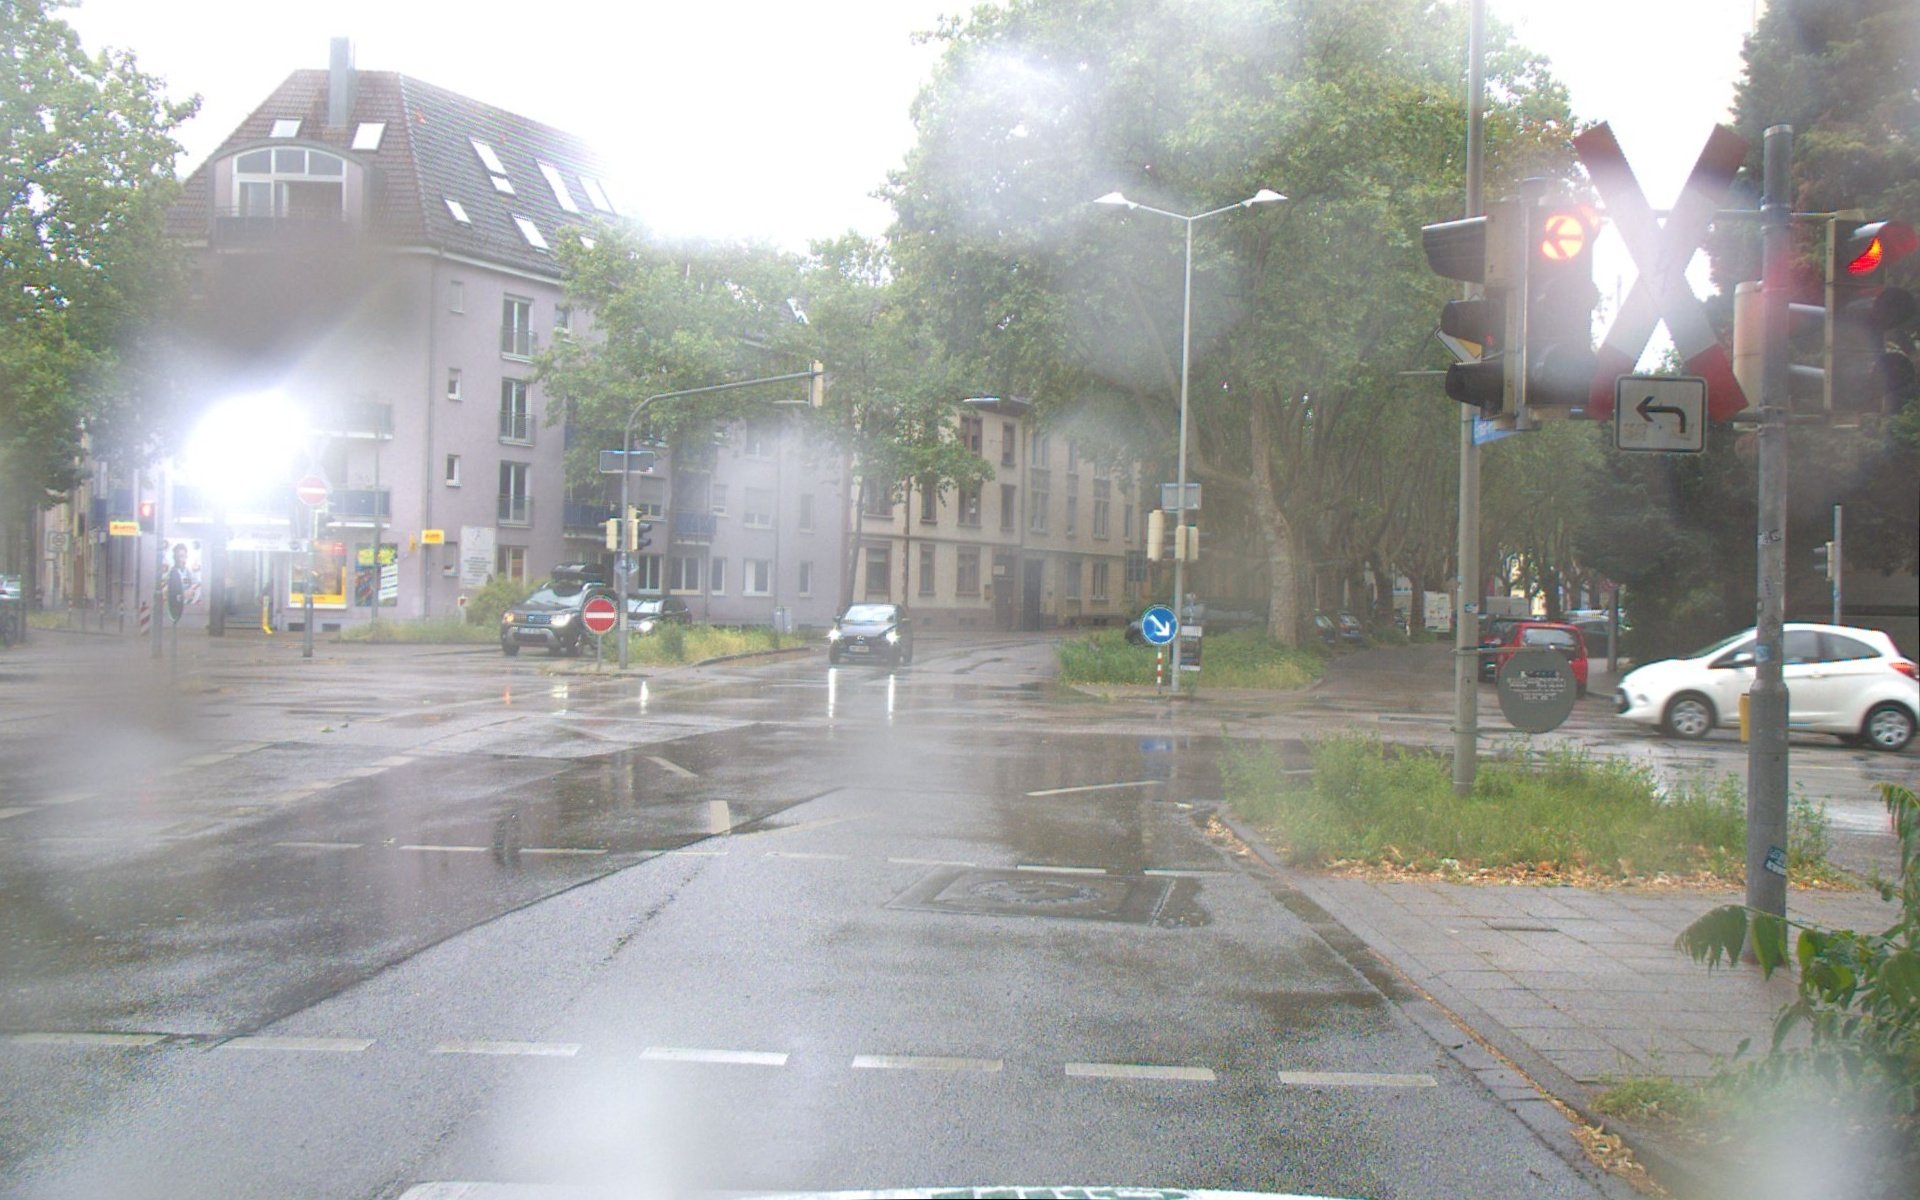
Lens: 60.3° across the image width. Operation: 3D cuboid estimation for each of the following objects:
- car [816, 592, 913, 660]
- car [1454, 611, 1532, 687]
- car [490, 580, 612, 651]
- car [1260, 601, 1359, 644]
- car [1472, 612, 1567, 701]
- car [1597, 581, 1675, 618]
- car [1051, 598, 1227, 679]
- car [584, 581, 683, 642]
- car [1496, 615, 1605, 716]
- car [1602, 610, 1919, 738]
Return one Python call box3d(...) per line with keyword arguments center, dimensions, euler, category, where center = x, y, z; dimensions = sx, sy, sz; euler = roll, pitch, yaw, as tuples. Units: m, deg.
box3d(center=(-2.297, 0.594, 40.579), dimensions=(1.568, 1.579, 3.563), euler=(0, 0, 10), category="car")
box3d(center=(15.455, 1.377, 48.104), dimensions=(1.951, 2.049, 4.003), euler=(0, 0, 15), category="car")
box3d(center=(-9.480, 0.339, 38.602), dimensions=(1.688, 1.579, 3.562), euler=(0, 0, 5), category="car")
box3d(center=(13.823, 0.881, 65.421), dimensions=(3.537, 1.646, 1.679), euler=(0, 0, 28), category="car")
box3d(center=(13.829, 1.351, 41.068), dimensions=(1.951, 2.049, 4.003), euler=(0, 0, 15), category="car")
box3d(center=(37.771, -0.043, 92.529), dimensions=(3.903, 2.049, 1.708), euler=(0, 0, 19), category="car")
box3d(center=(3.583, 0.760, 32.972), dimensions=(3.405, 1.550, 1.521), euler=(0, 0, 8), category="car")
box3d(center=(-8.785, 0.295, 44.773), dimensions=(1.688, 1.579, 3.562), euler=(0, 0, 5), category="car")
box3d(center=(13.011, 1.386, 36.647), dimensions=(1.951, 2.049, 4.003), euler=(0, 0, 15), category="car")
box3d(center=(10.180, 0.901, 20.969), dimensions=(3.563, 1.512, 1.726), euler=(0, 0, 12), category="car")
